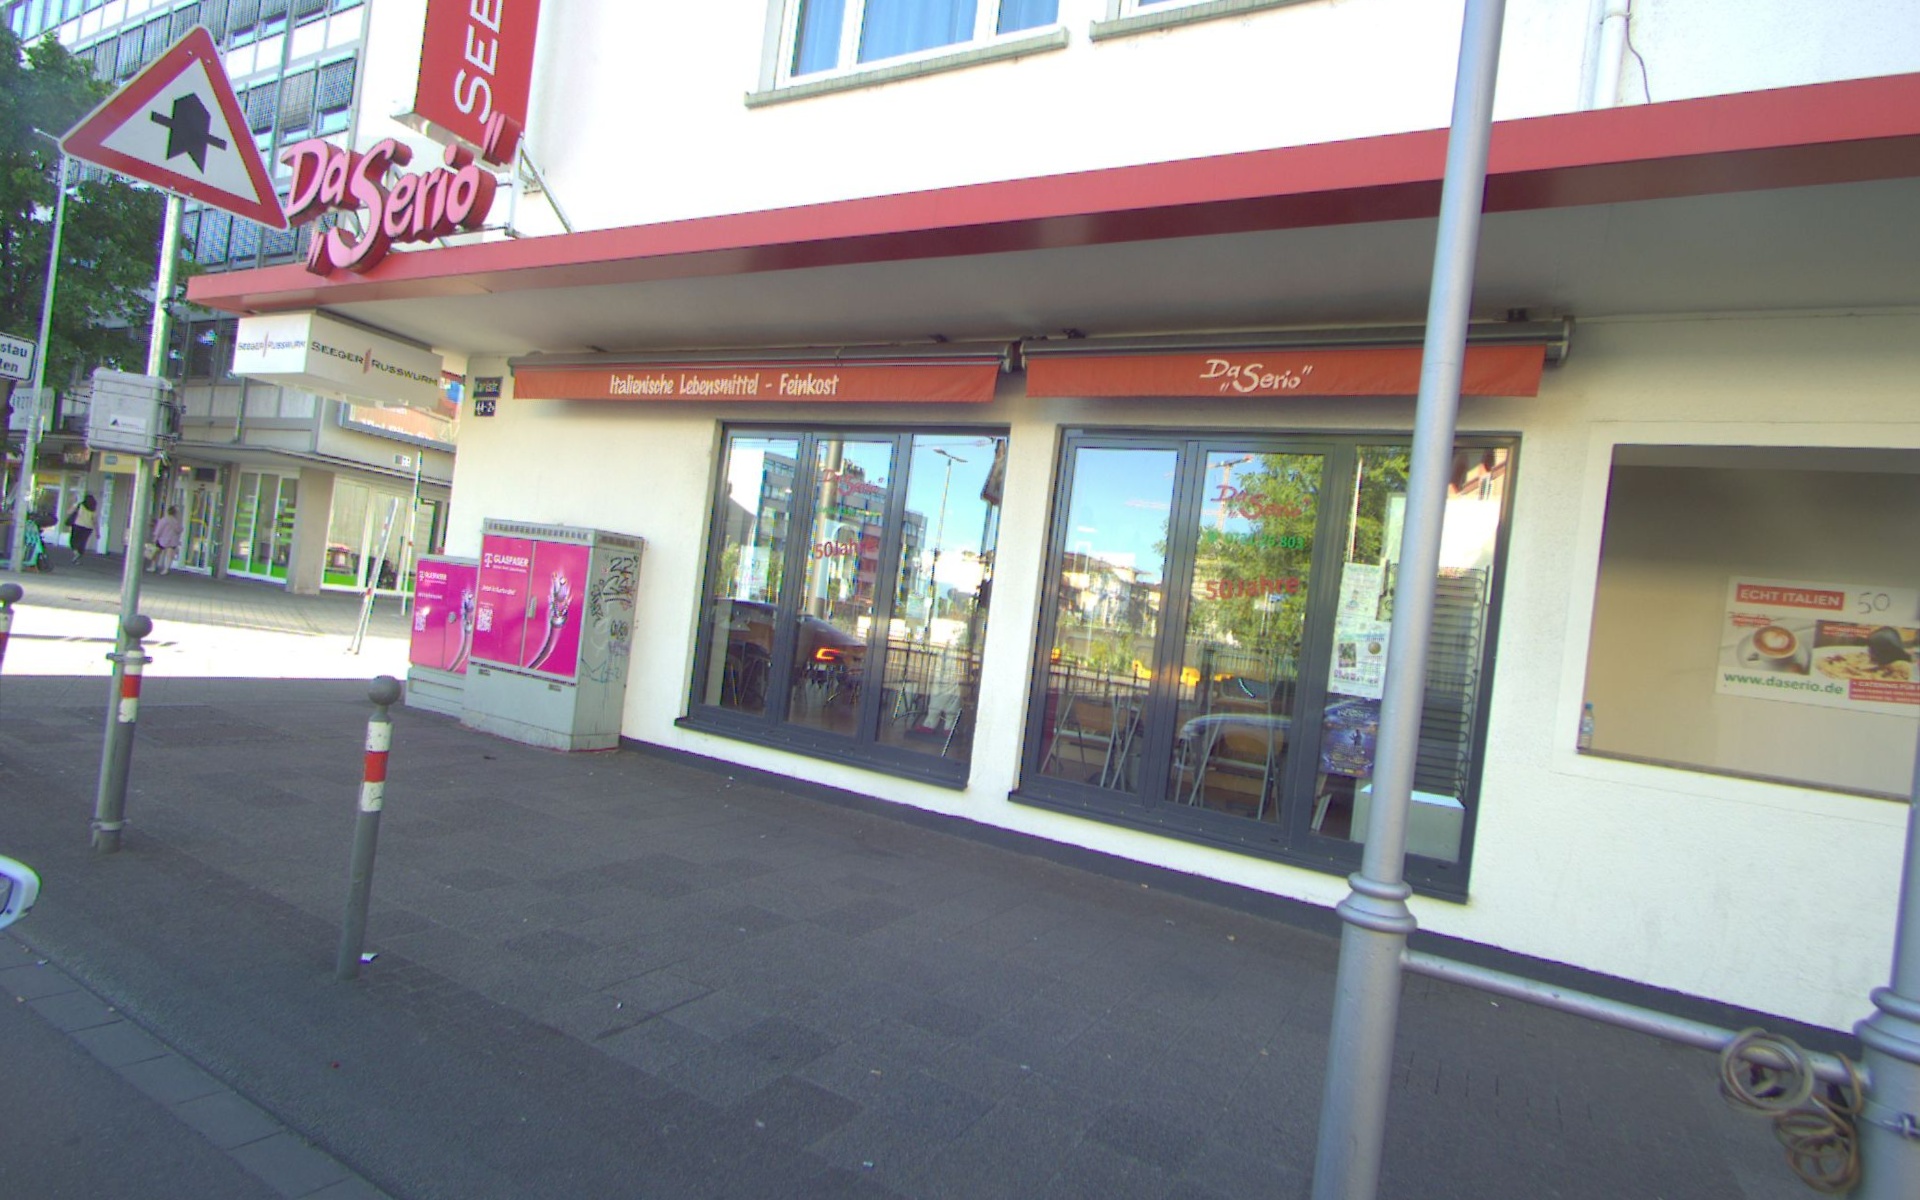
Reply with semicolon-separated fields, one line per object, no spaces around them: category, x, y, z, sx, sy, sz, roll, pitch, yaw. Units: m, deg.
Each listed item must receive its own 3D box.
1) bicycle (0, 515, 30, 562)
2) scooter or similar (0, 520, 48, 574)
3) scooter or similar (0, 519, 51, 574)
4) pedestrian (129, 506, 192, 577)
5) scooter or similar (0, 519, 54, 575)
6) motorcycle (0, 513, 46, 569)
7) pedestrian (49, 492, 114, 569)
bicycle;-23.197;-1.535;23.680;0.392;1.069;1.856;7;0;21
scooter or similar;-20.017;-1.130;21.293;0.157;1.039;0.964;7;-1;34
scooter or similar;-19.853;-1.122;21.183;0.157;1.051;0.957;7;-1;34
pedestrian;-20.238;-1.477;25.477;0.865;1.621;0.844;6;-1;31
scooter or similar;-19.691;-1.117;21.073;0.157;1.056;0.964;7;-1;34
motorcycle;-21.580;-1.388;22.305;0.495;1.142;1.791;7;-2;29
pedestrian;-21.766;-1.716;24.936;0.865;1.727;0.844;6;-1;31
